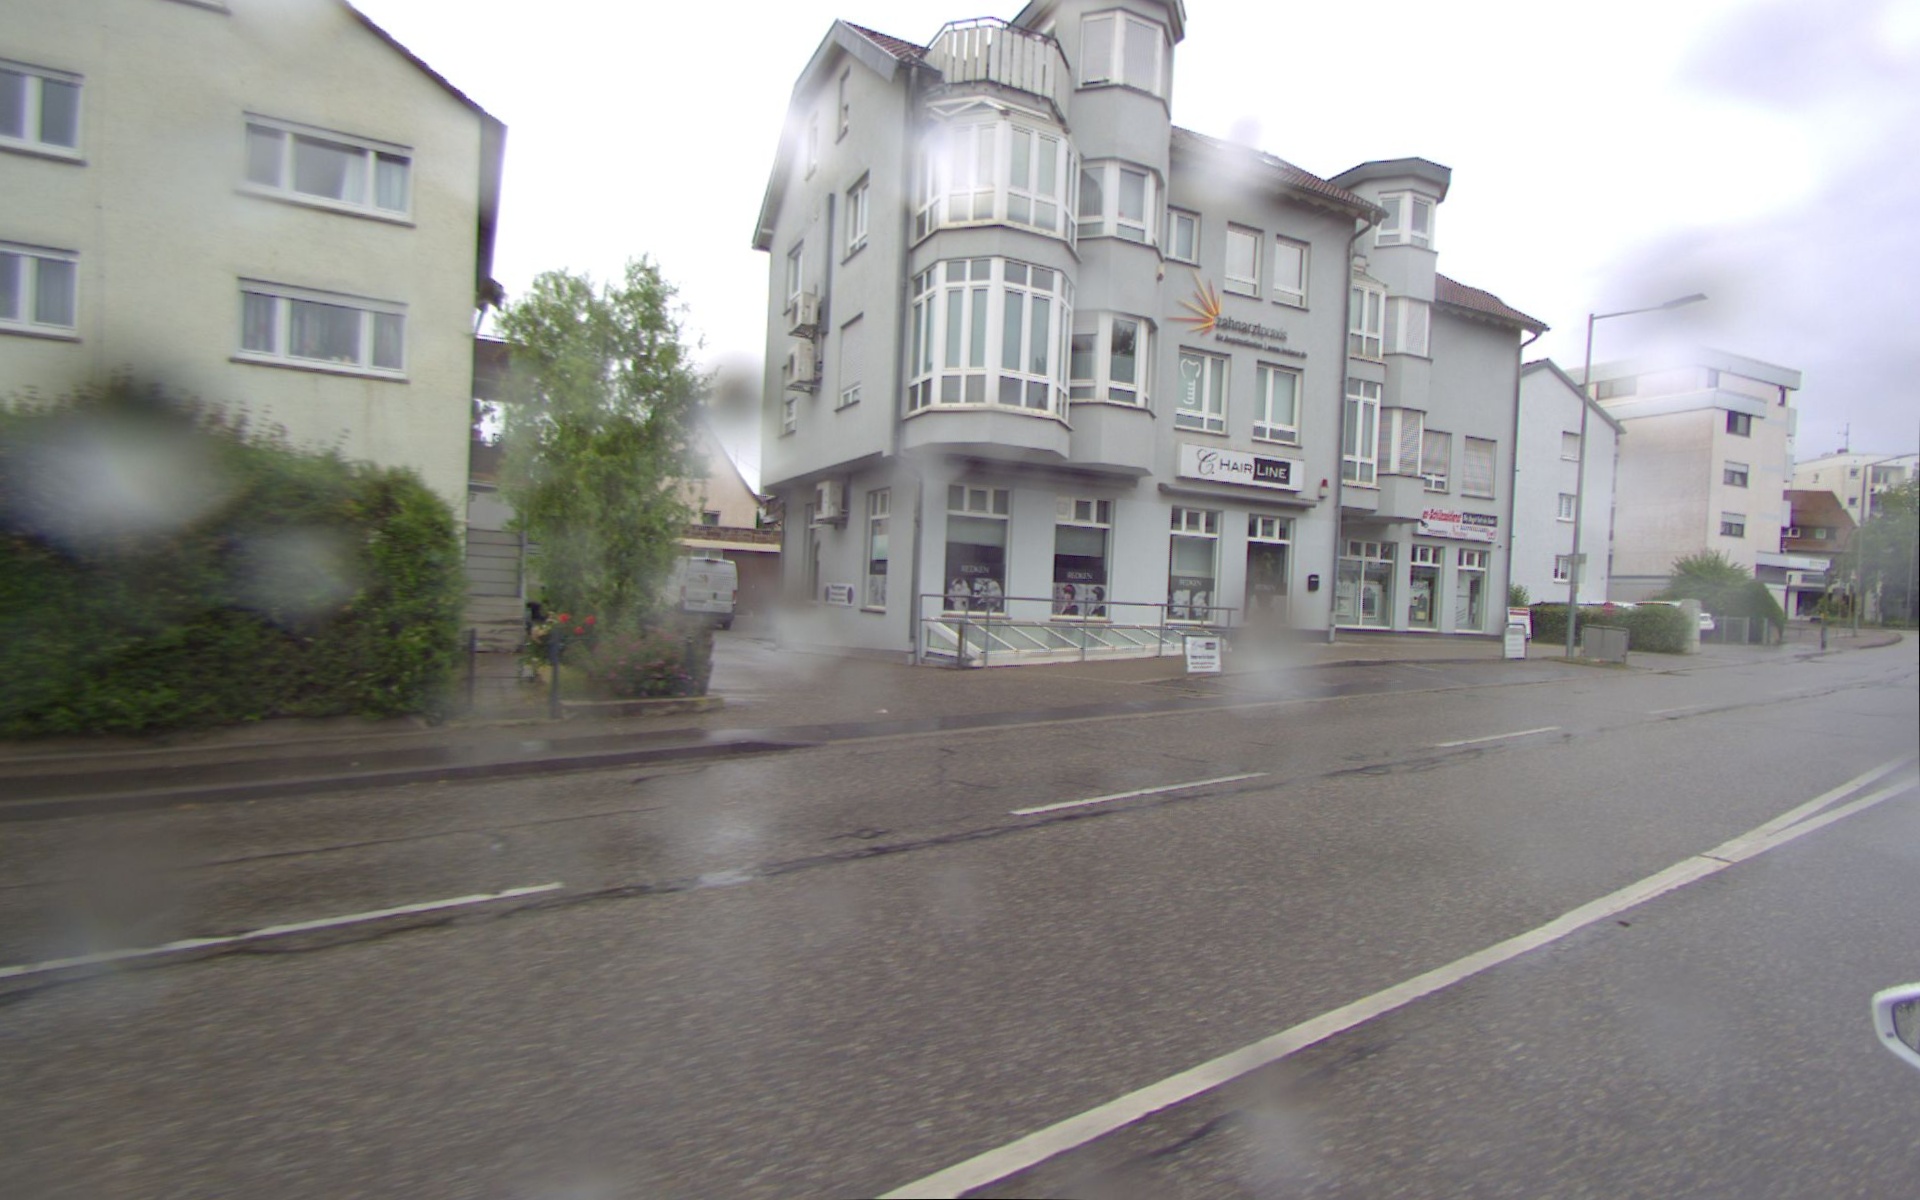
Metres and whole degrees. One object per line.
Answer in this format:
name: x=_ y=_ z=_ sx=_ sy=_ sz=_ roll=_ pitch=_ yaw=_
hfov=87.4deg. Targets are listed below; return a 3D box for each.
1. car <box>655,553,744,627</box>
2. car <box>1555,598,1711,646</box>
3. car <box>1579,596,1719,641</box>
car: x=-9.957 y=-0.367 z=38.061 sx=2.402 sy=2.549 sz=5.444 roll=1 pitch=0 yaw=-24
car: x=24.006 y=0.741 z=35.981 sx=1.882 sy=1.493 sz=4.198 roll=1 pitch=1 yaw=-30
car: x=28.794 y=0.724 z=42.124 sx=1.914 sy=1.659 sz=4.435 roll=1 pitch=1 yaw=-26
